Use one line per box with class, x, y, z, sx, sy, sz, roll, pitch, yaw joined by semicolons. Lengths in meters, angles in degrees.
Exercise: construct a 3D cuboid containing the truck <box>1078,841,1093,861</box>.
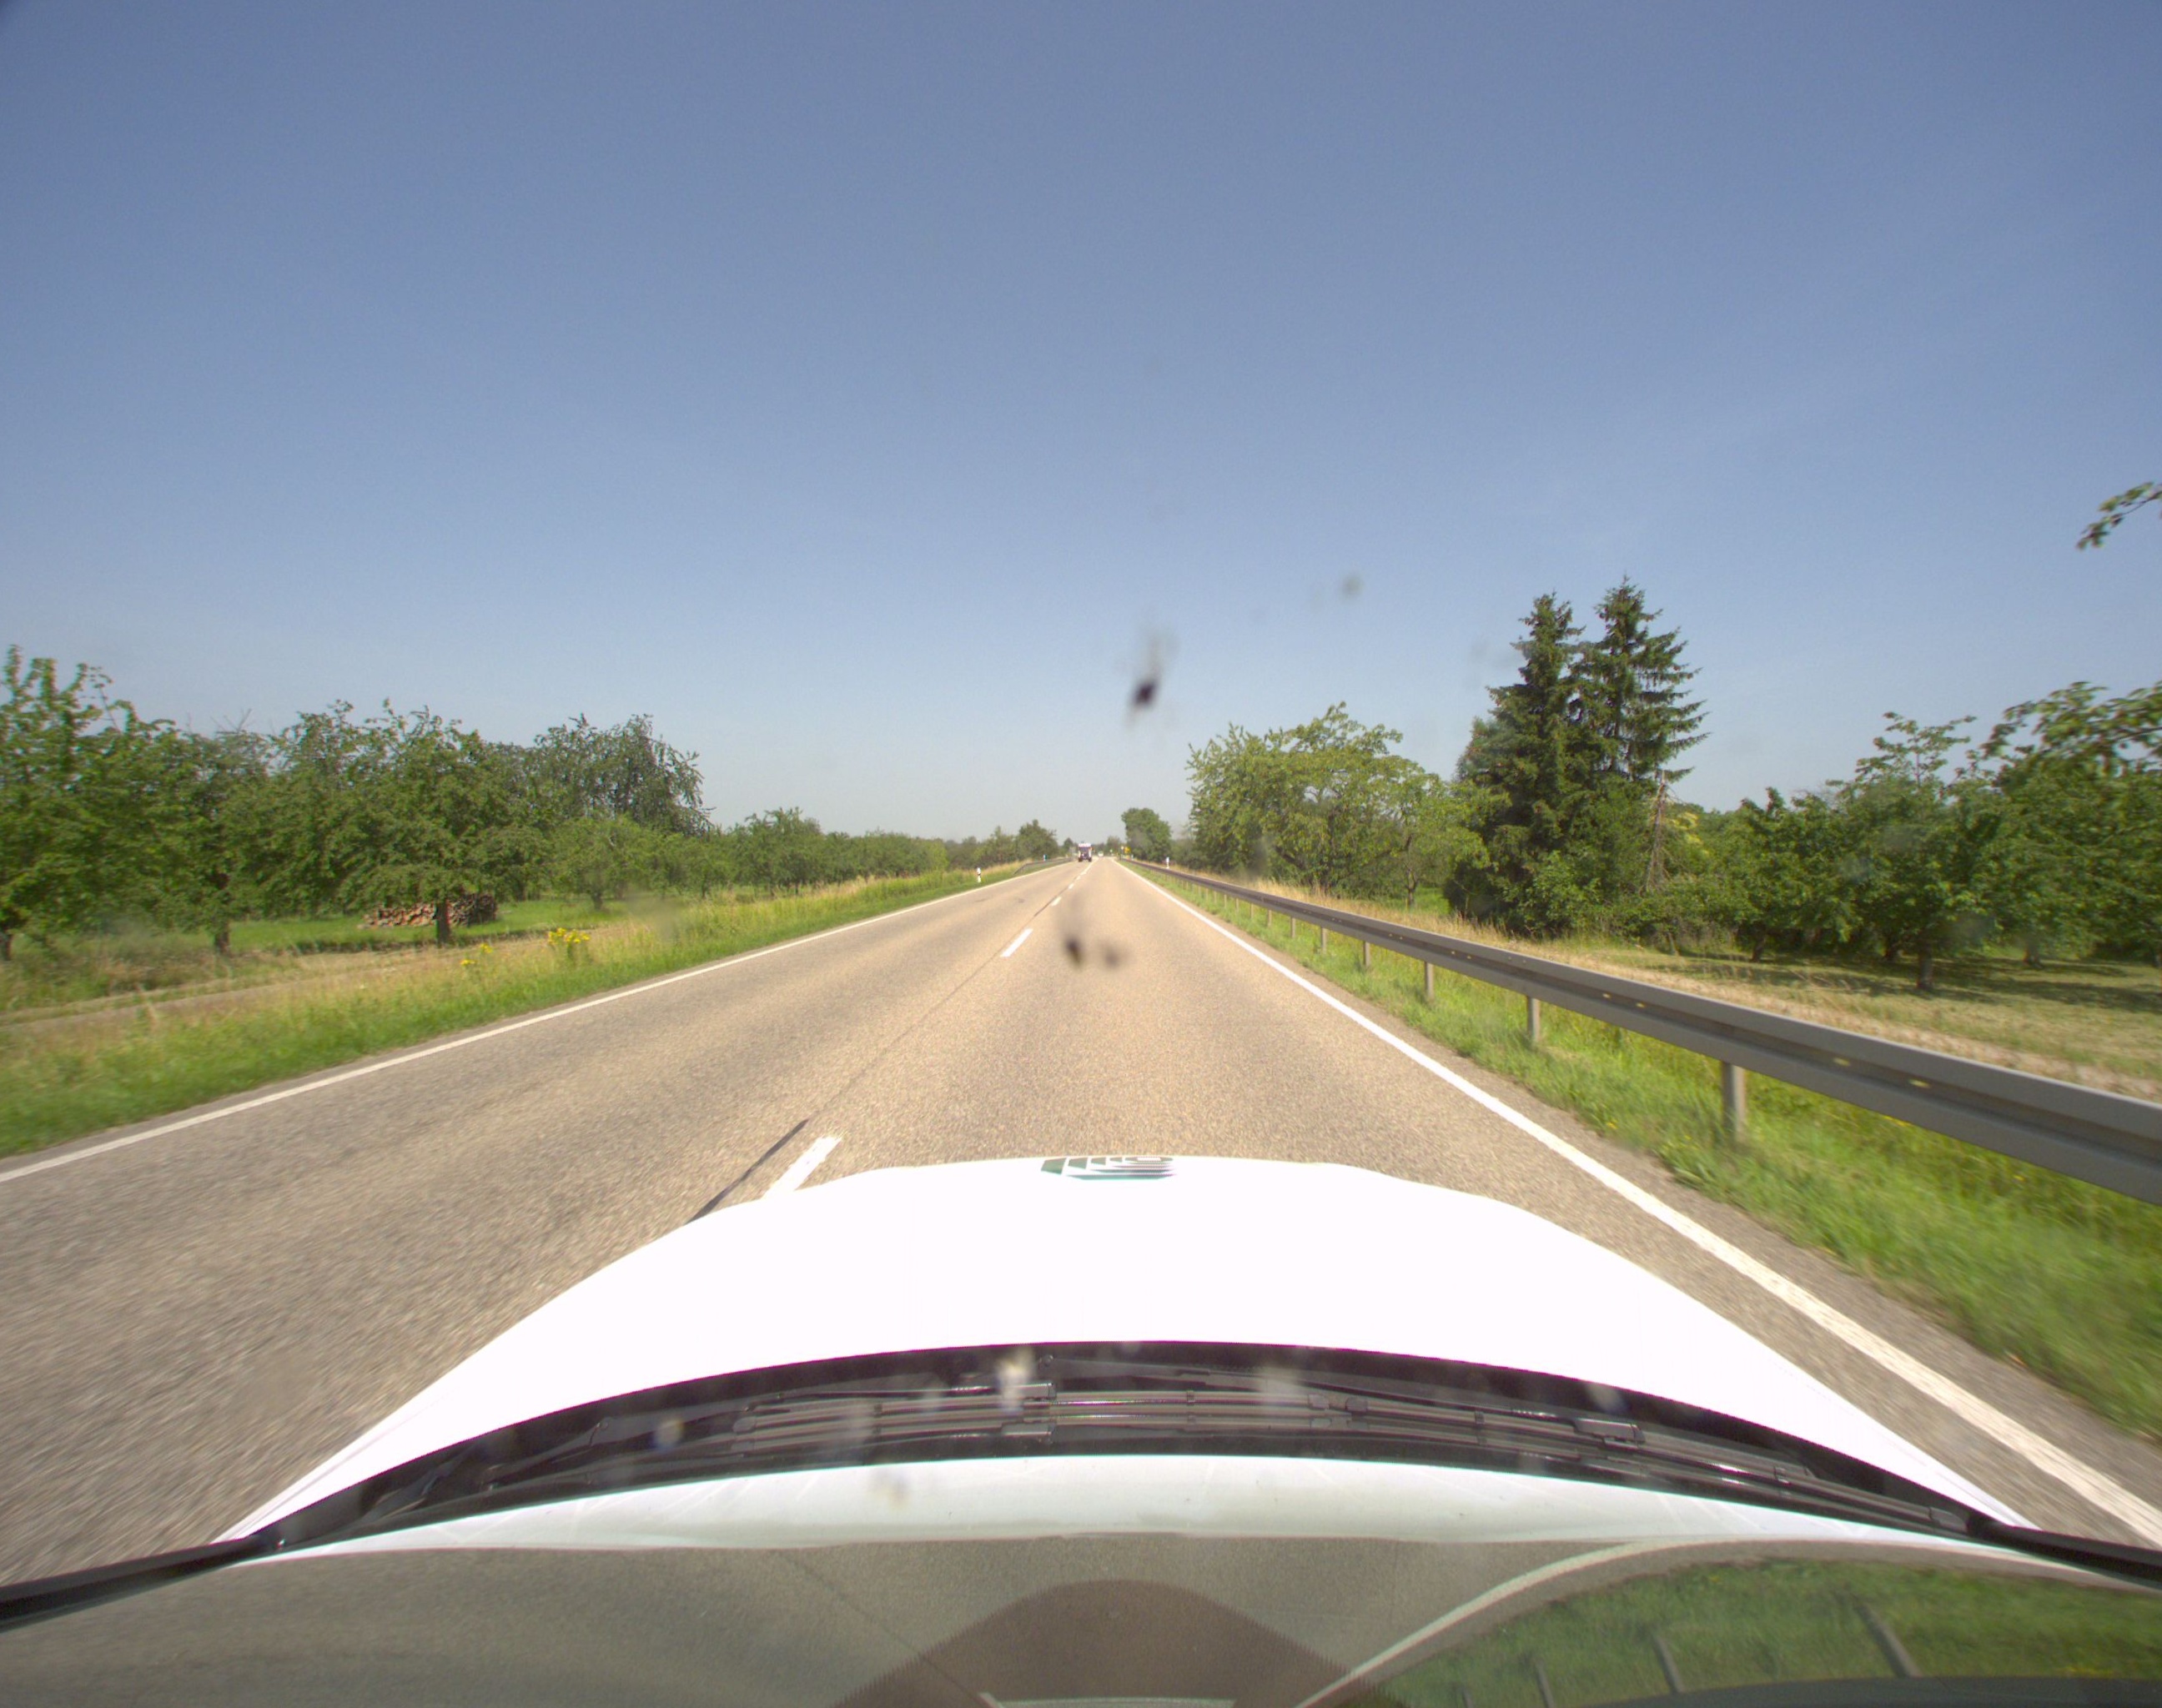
truck;0.929;-0.543;156.856;2.718;3.672;9.385;0;-1;1
